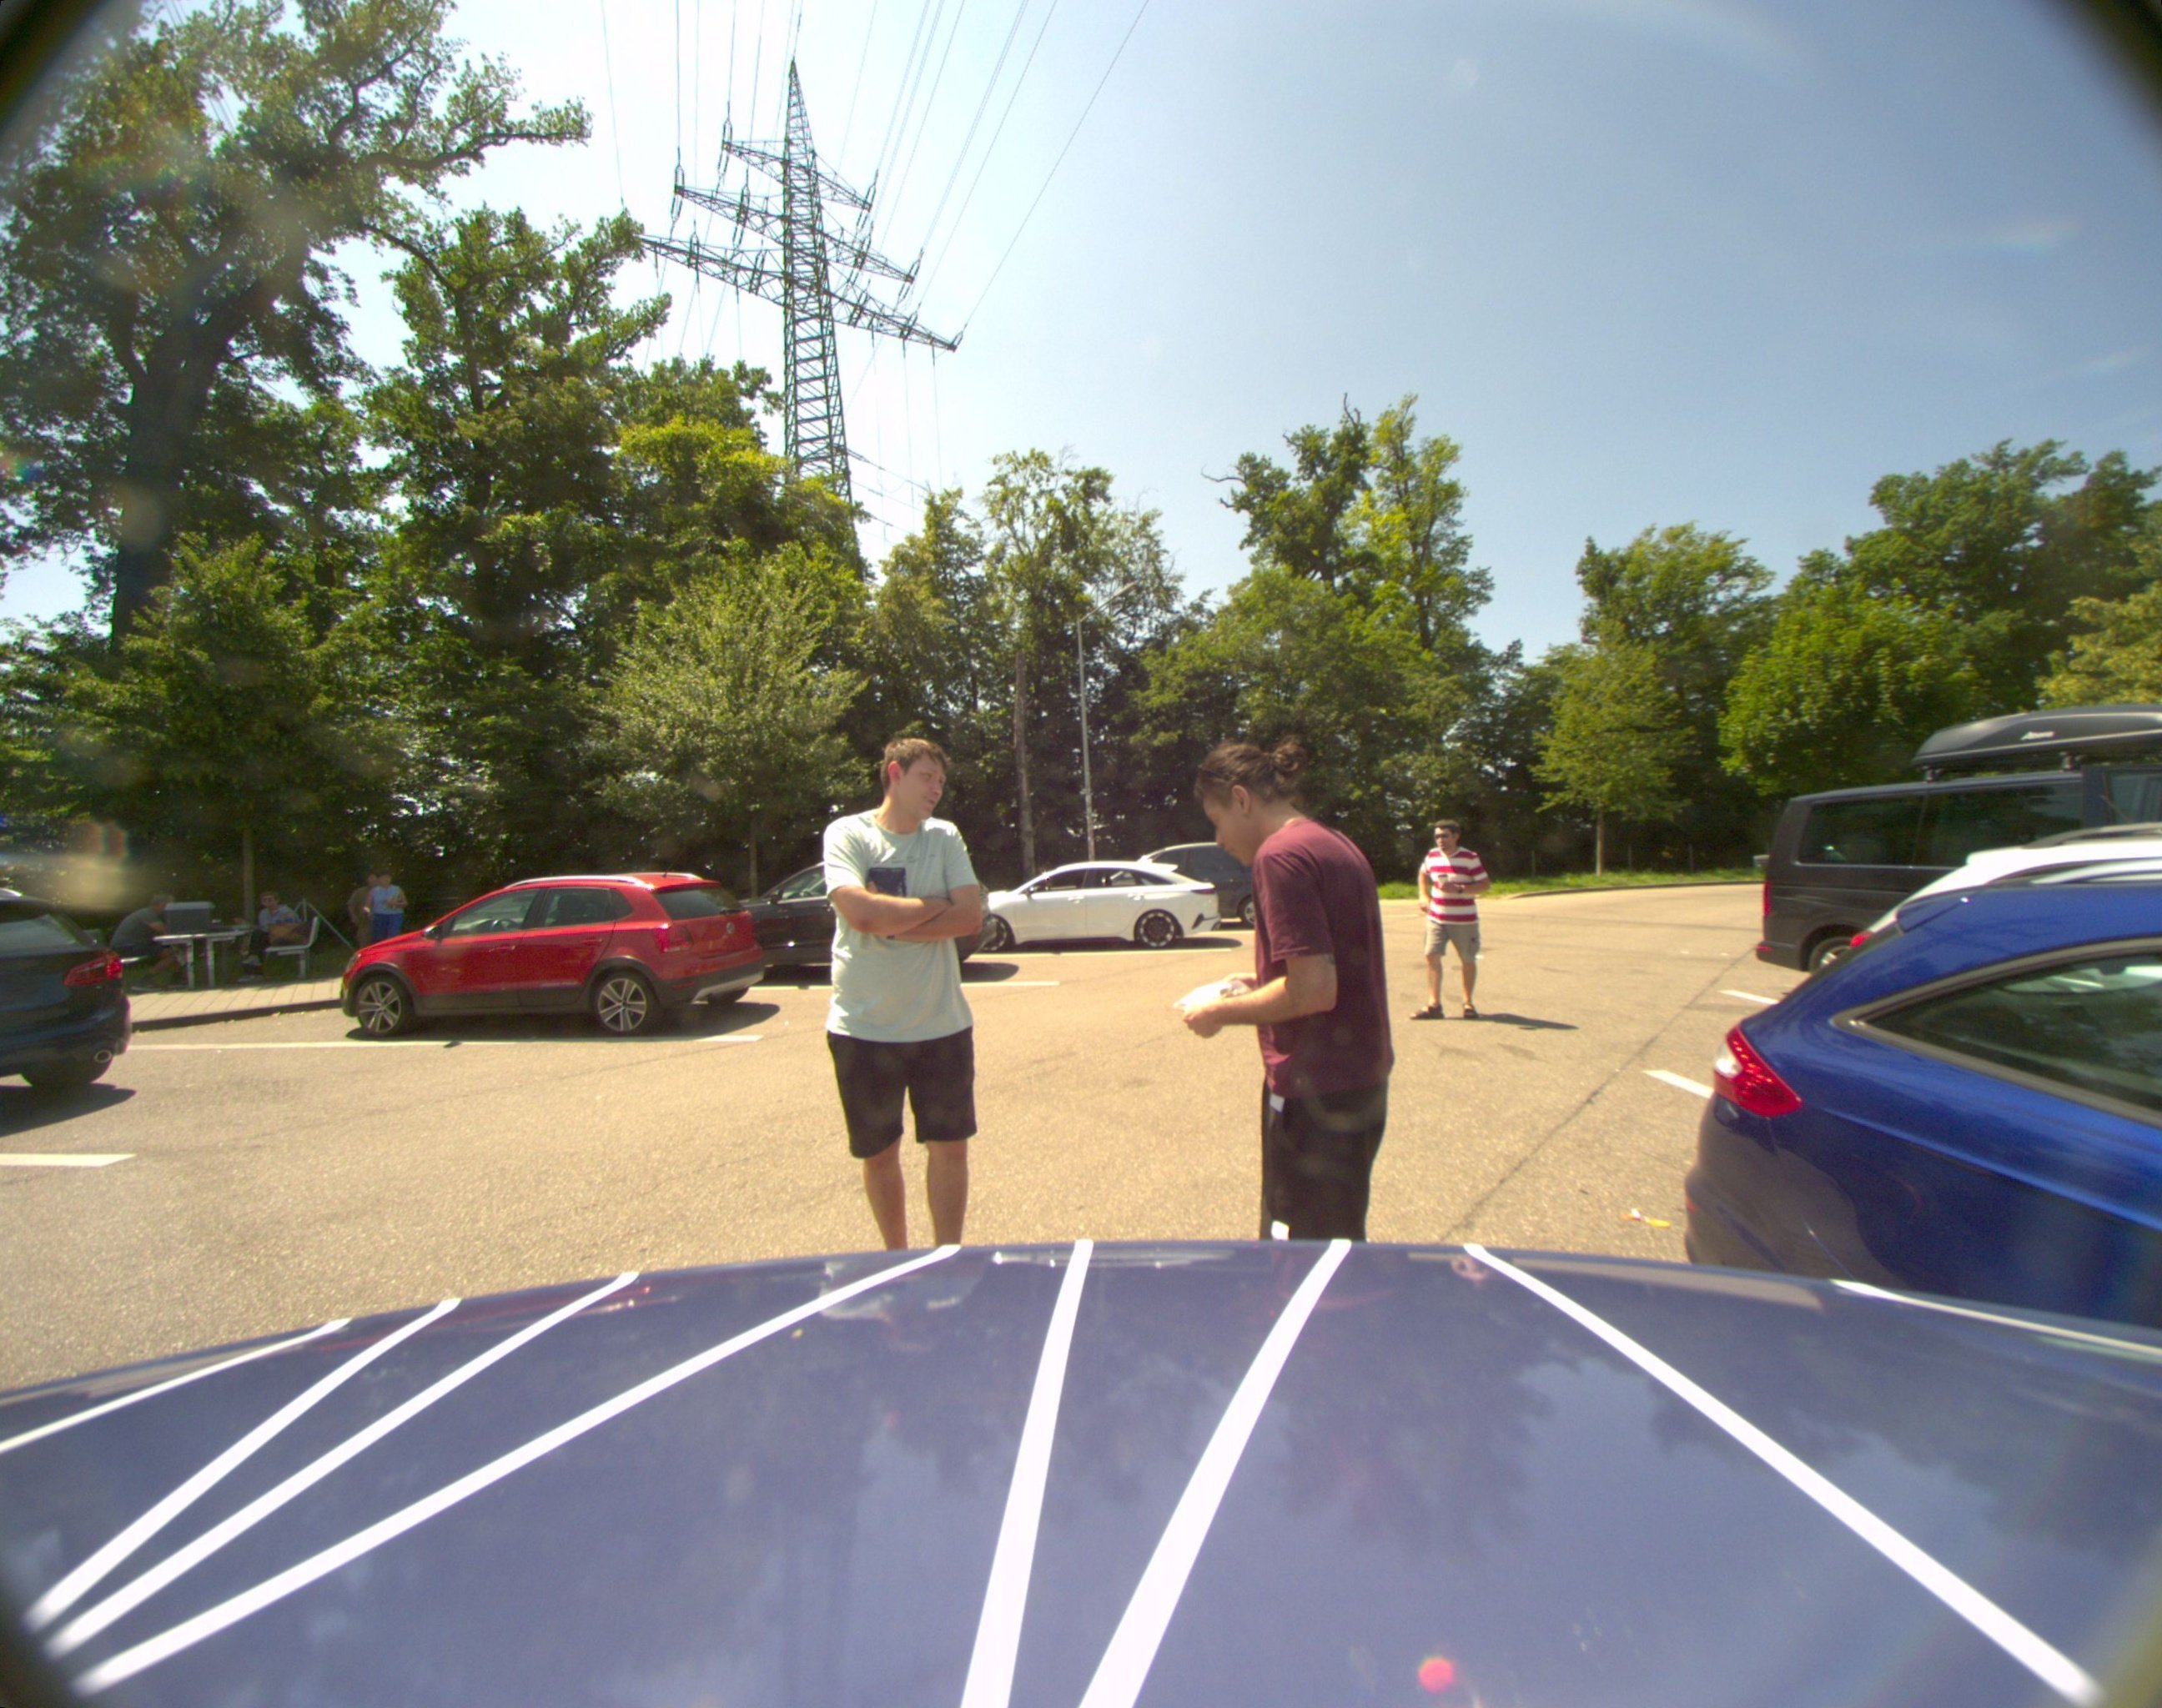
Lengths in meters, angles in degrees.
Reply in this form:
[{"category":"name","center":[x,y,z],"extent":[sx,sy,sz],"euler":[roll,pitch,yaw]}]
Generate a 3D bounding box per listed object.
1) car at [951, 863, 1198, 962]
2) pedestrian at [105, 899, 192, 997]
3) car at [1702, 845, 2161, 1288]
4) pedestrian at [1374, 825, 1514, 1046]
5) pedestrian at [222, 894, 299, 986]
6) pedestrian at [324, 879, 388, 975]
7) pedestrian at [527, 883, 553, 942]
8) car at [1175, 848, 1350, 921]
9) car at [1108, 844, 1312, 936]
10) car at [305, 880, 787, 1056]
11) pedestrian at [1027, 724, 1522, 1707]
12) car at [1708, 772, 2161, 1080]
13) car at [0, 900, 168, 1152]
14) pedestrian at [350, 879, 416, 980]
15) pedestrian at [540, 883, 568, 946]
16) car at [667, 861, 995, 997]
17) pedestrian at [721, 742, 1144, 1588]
[{"category":"car","center":[-0.065,0.930,12.682],"extent":[3.825,1.394,1.651],"euler":[-2,1,4]},{"category":"pedestrian","center":[-12.719,1.266,10.382],"extent":[0.595,1.238,0.446],"euler":[-3,1,-33]},{"category":"car","center":[4.654,0.728,2.259],"extent":[1.757,1.496,4.574],"euler":[-3,-1,-1]},{"category":"pedestrian","center":[3.121,0.644,6.542],"extent":[0.786,1.744,0.753],"euler":[-3,1,-34]},{"category":"pedestrian","center":[-11.852,1.225,10.996],"extent":[0.595,1.238,0.499],"euler":[-3,1,-33]},{"category":"pedestrian","center":[-12.714,1.263,13.325],"extent":[0.571,1.596,0.648],"euler":[-1,1,36]},{"category":"pedestrian","center":[-10.999,1.183,15.448],"extent":[0.357,1.158,0.384],"euler":[-3,2,-41]},{"category":"car","center":[4.276,0.705,18.159],"extent":[3.822,1.551,1.652],"euler":[-2,1,12]},{"category":"car","center":[2.616,0.708,15.464],"extent":[3.822,1.686,1.652],"euler":[-2,1,12]},{"category":"car","center":[-5.223,1.087,7.679],"extent":[3.823,1.460,1.651],"euler":[-2,1,8]},{"category":"pedestrian","center":[0.475,0.713,1.937],"extent":[0.919,1.894,0.815],"euler":[-2,1,16]},{"category":"car","center":[7.382,0.413,5.290],"extent":[1.758,1.886,4.571],"euler":[-3,-1,-9]},{"category":"car","center":[-9.024,1.169,5.013],"extent":[4.338,1.544,1.749],"euler":[-1,1,8]},{"category":"pedestrian","center":[-11.640,1.229,12.673],"extent":[0.571,1.596,0.648],"euler":[-1,1,36]},{"category":"pedestrian","center":[-10.155,1.160,14.633],"extent":[0.357,1.158,0.384],"euler":[-3,2,-41]},{"category":"car","center":[-3.241,0.959,10.307],"extent":[3.825,1.546,1.651],"euler":[-2,1,4]},{"category":"pedestrian","center":[-0.457,0.713,2.336],"extent":[0.918,1.939,0.815],"euler":[-1,2,44]}]
